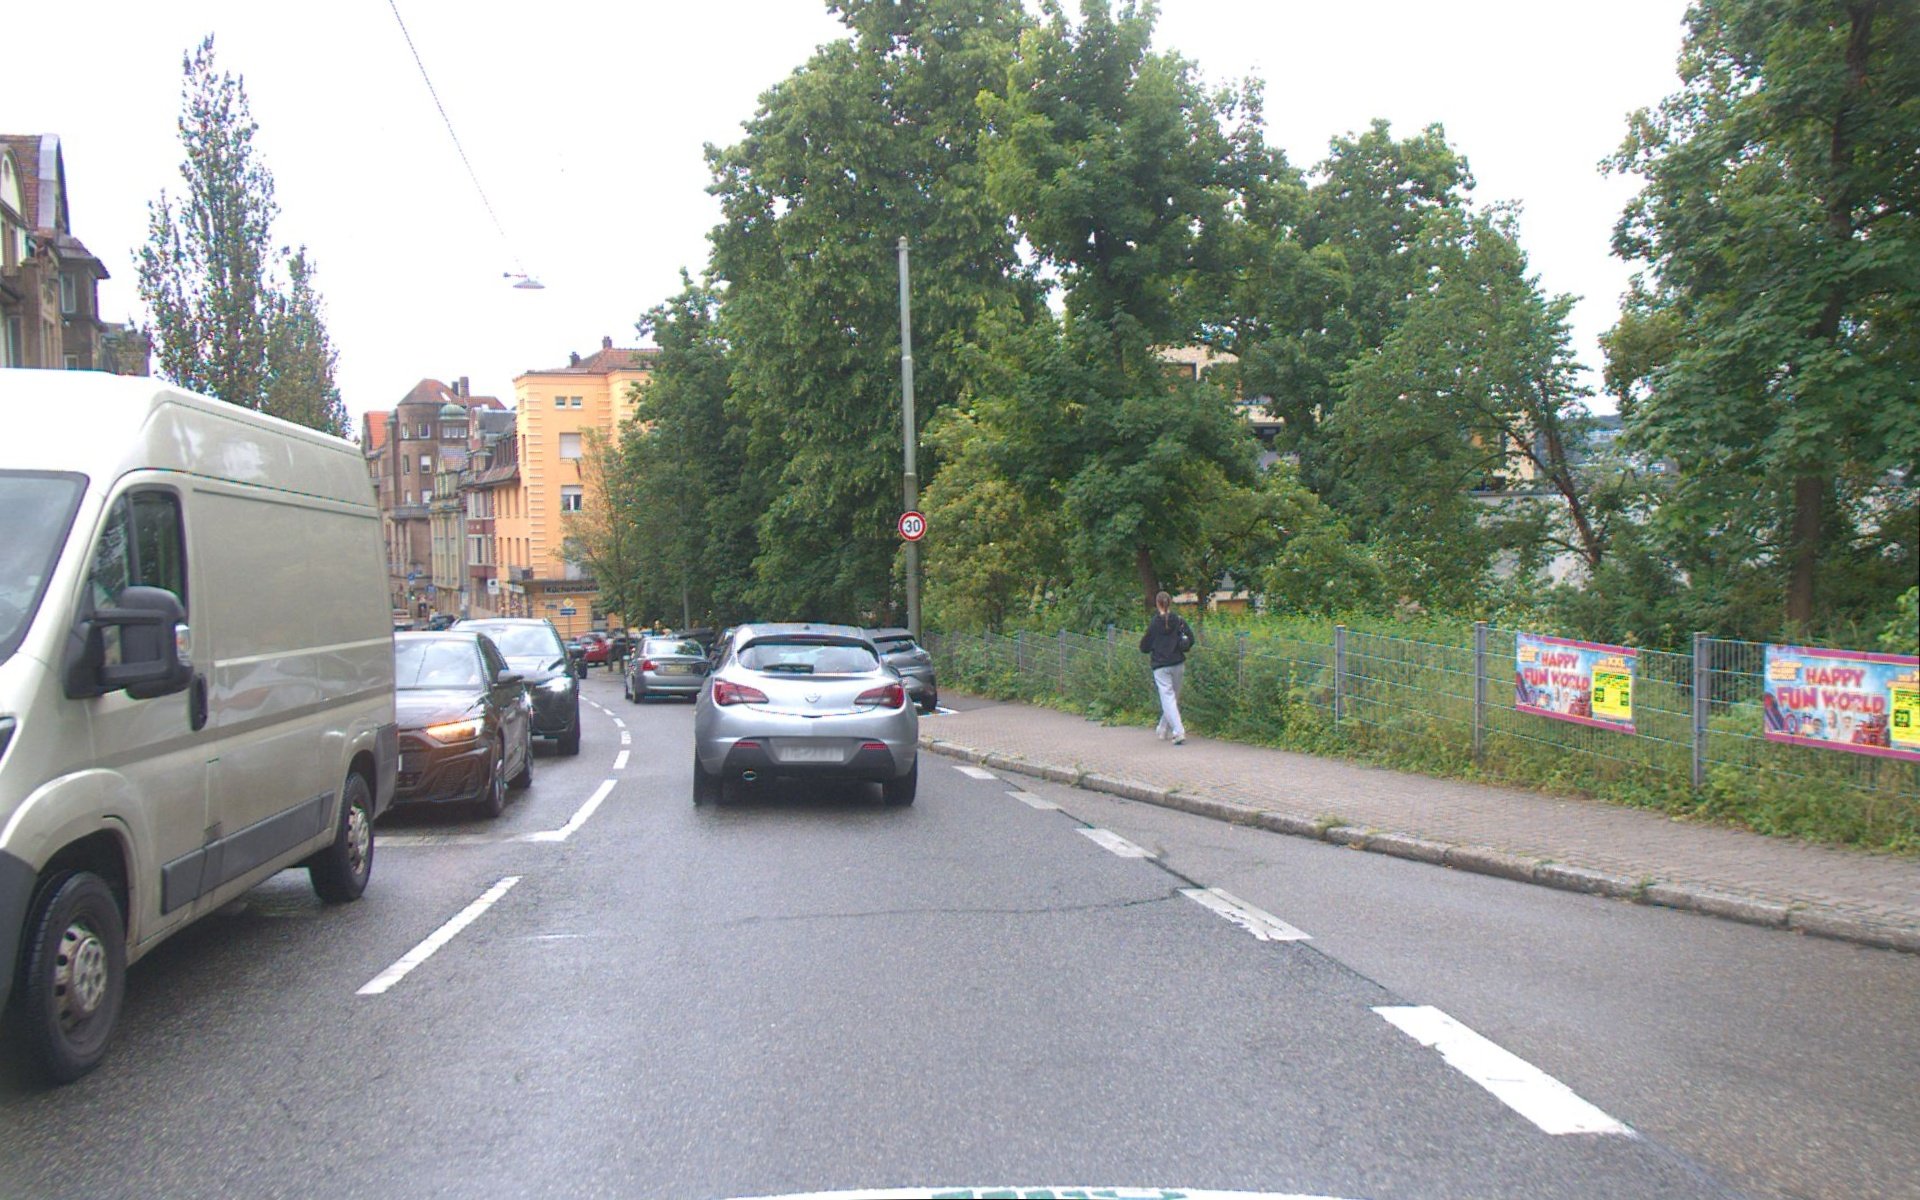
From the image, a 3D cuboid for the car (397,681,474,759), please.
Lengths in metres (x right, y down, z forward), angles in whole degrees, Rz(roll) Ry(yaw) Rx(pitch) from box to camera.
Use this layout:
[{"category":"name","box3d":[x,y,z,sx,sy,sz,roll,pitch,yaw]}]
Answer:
[{"category":"car","box3d":[-11.361,2.571,35.959,1.360,1.436,3.443,-1,0,-14]}]

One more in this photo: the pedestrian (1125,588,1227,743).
[{"category":"pedestrian","box3d":[2.411,0.722,18.584,0.752,1.633,0.962,-4,0,-12]}]

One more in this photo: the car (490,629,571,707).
[{"category":"car","box3d":[-9.536,1.460,36.860,1.627,1.596,3.985,-1,-1,-14]}]

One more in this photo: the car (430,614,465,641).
[{"category":"car","box3d":[-38.547,2.061,124.393,1.968,1.717,3.972,-7,1,-23]}]

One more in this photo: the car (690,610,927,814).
[{"category":"car","box3d":[-1.447,0.858,14.590,1.781,1.455,3.992,-1,0,-9]}]

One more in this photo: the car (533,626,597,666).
[{"category":"car","box3d":[-15.084,1.743,63.015,1.744,1.440,3.689,1,-1,-24]}]

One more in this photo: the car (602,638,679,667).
[{"category":"car","box3d":[-17.067,2.818,88.414,3.725,1.455,1.768,3,-4,-25]}]

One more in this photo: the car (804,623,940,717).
[{"category":"car","box3d":[-1.627,1.205,29.389,1.622,1.429,3.798,-4,0,-14]}]

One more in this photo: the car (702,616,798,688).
[{"category":"car","box3d":[-5.758,1.373,44.831,1.792,1.712,4.782,-4,0,-16]}]

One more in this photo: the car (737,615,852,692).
[{"category":"car","box3d":[-4.034,1.299,39.788,1.789,1.520,3.978,-7,0,-18]}]

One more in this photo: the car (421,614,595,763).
[{"category":"car","box3d":[-5.573,1.020,20.776,1.843,1.602,4.570,-1,-1,-13]}]

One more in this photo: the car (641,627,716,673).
[{"category":"car","box3d":[-10.228,1.815,59.826,1.947,1.477,4.090,-4,-1,-19]}]

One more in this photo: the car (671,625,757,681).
[{"category":"car","box3d":[-8.171,1.760,54.704,1.947,1.637,4.459,-4,-1,-19]}]

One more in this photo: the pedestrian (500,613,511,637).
[{"category":"pedestrian","box3d":[-30.049,1.660,109.396,0.604,1.522,0.549,-1,2,-21]}]

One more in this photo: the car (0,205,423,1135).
[{"category":"car","box3d":[-3.969,0.238,6.956,2.077,2.590,5.532,-2,-1,-6]}]

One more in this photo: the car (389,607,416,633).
[{"category":"car","box3d":[-42.873,1.539,127.182,1.756,1.887,3.974,-1,-2,-21]}]

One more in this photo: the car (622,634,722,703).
[{"category":"car","box3d":[-6.550,1.537,37.348,1.748,1.455,3.766,0,-2,-17]}]

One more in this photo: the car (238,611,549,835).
[{"category":"car","box3d":[-4.410,0.879,13.460,1.782,1.455,3.989,-2,-1,-11]}]

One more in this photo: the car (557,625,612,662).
[{"category":"car","box3d":[-17.676,2.052,77.764,1.791,1.492,3.973,-6,0,-22]}]
